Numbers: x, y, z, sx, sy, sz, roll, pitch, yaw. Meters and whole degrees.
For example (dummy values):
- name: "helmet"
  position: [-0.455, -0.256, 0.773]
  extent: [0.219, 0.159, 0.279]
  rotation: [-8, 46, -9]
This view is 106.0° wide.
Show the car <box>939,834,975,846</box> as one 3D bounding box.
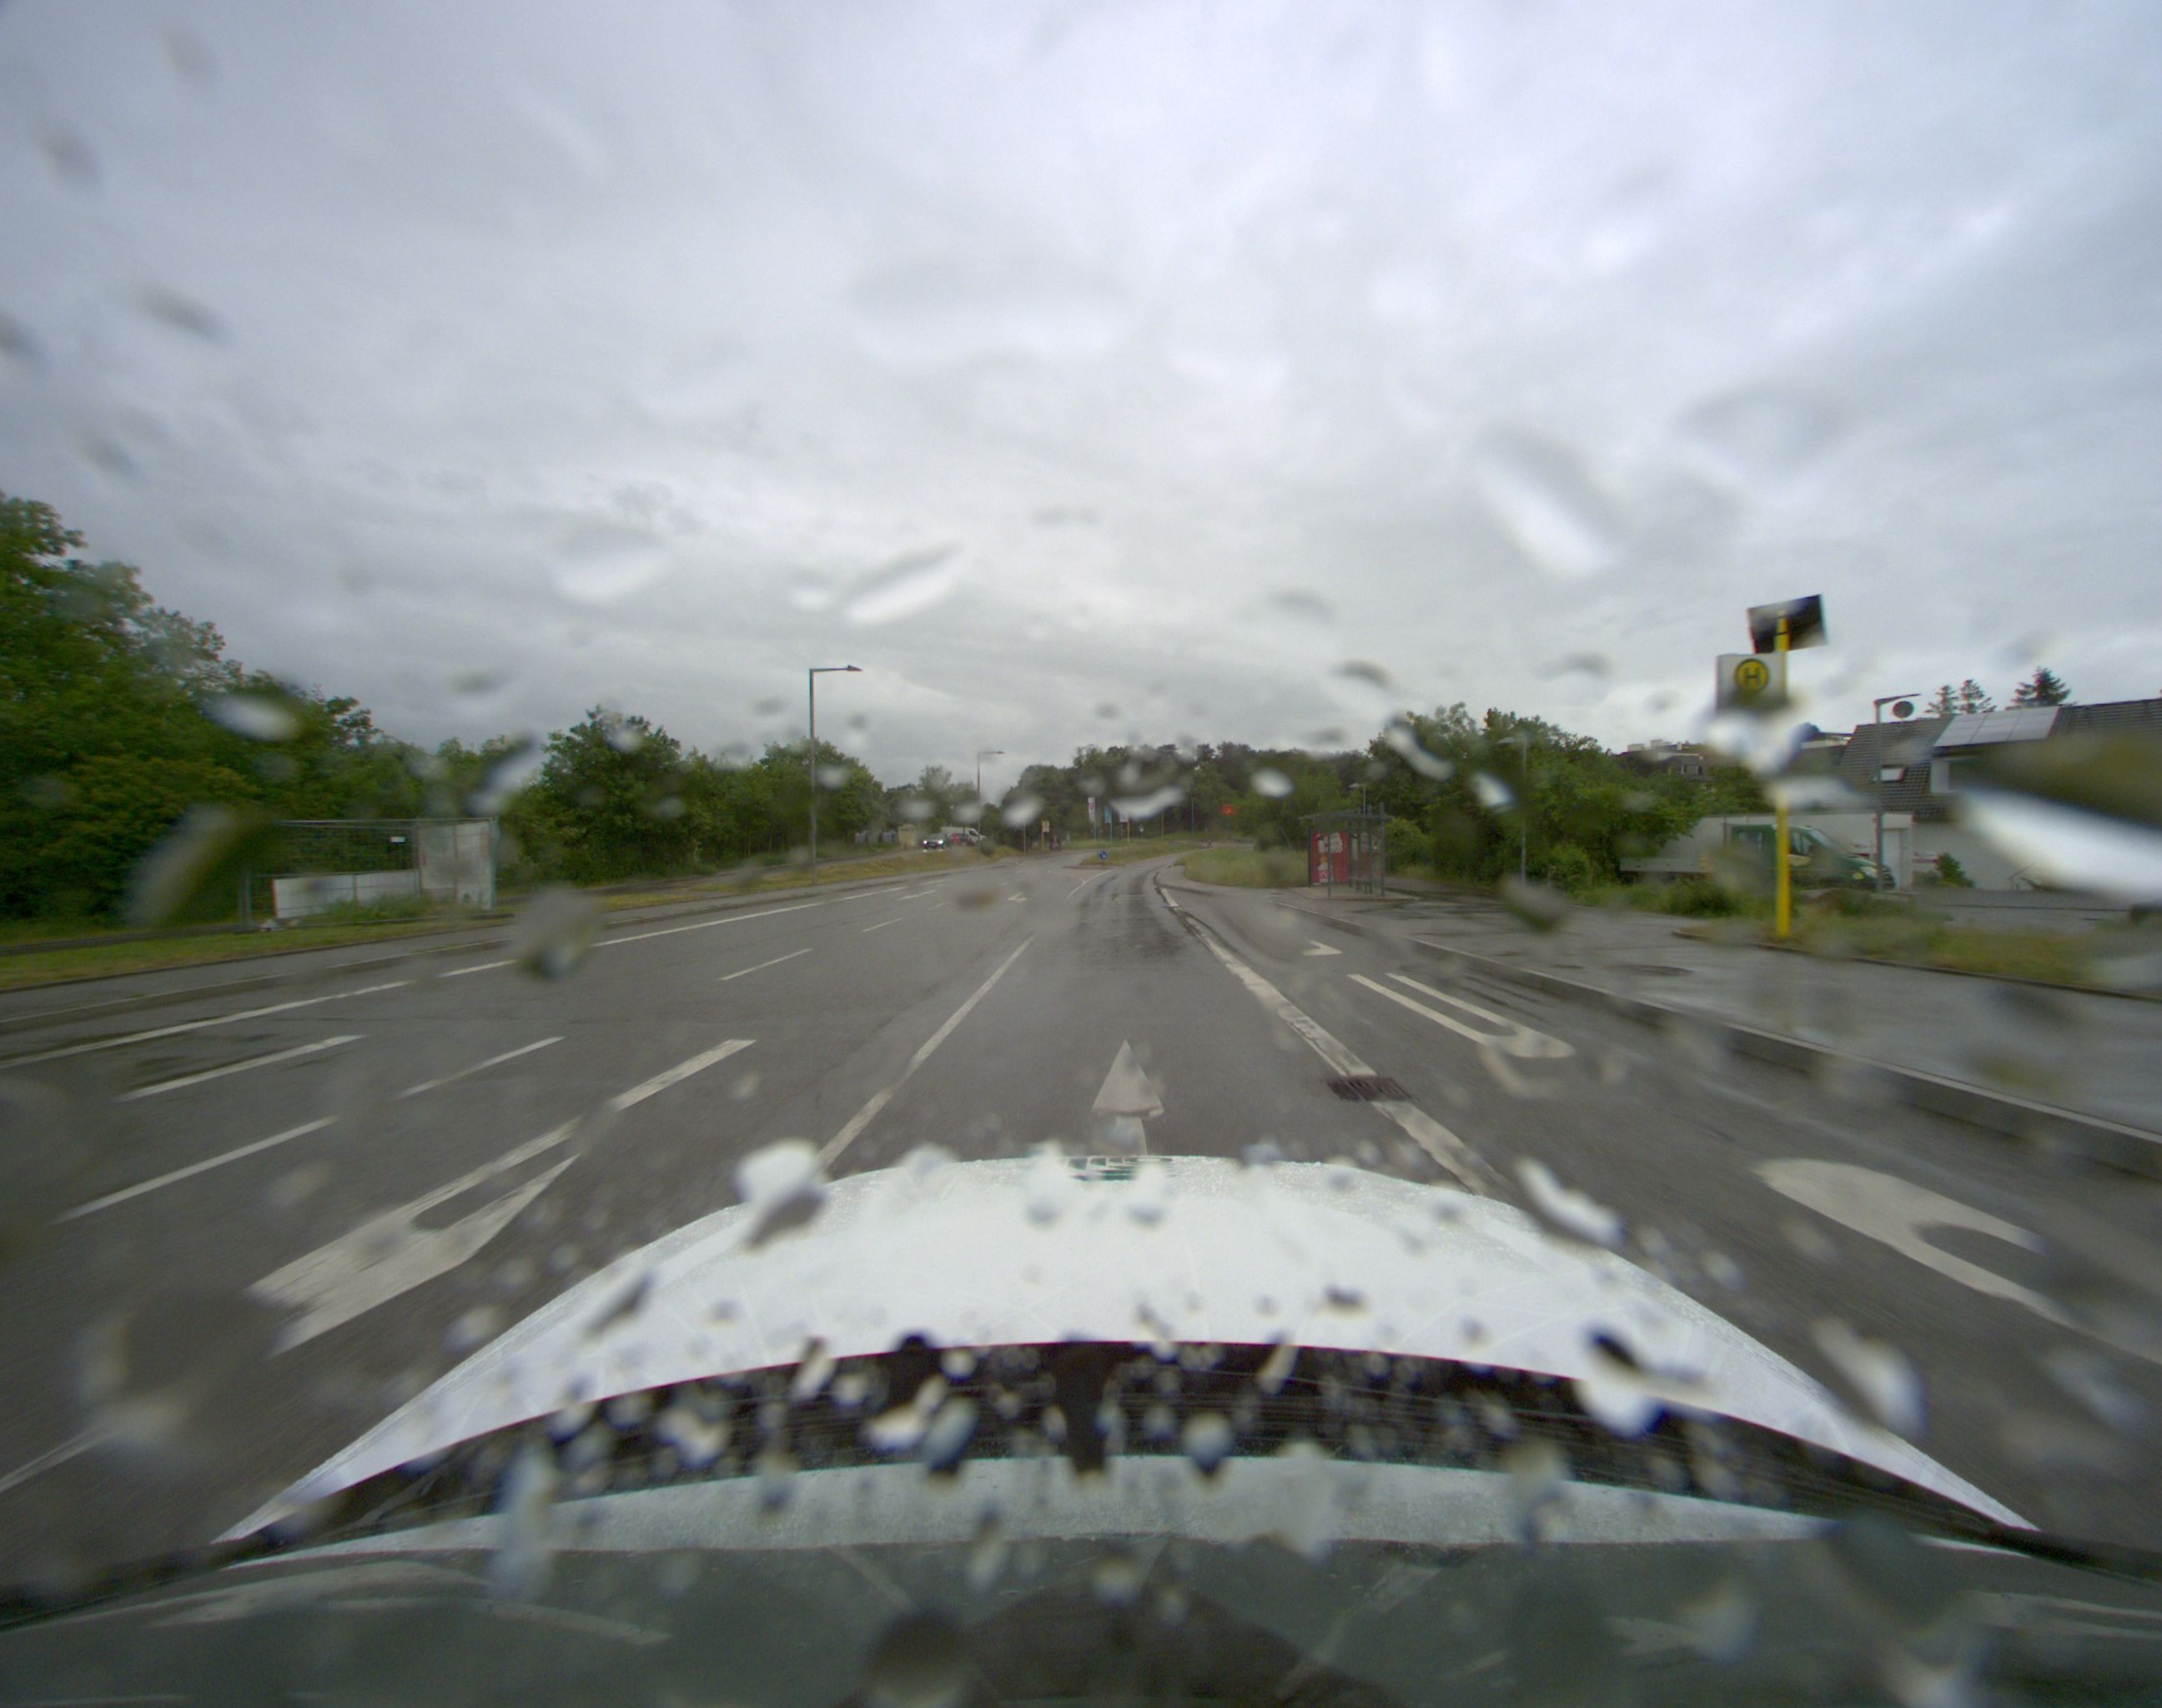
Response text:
- name: "car"
  position: [-15.127, -1.742, 99.342]
  extent: [3.963, 1.364, 1.853]
  rotation: [0, 1, 9]

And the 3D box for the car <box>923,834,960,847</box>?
- name: "car"
  position: [-16.507, -1.593, 96.397]
  extent: [3.965, 1.469, 1.852]
  rotation: [0, 1, 7]

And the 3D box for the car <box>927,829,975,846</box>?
- name: "car"
  position: [-13.892, -1.738, 87.239]
  extent: [4.681, 1.693, 2.009]
  rotation: [-2, 1, 7]

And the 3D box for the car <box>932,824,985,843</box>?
- name: "car"
  position: [-16.122, -2.705, 107.182]
  extent: [6.527, 2.397, 2.141]
  rotation: [1, 0, 3]

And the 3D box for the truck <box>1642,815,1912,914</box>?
- name: "truck"
  position: [19.905, 0.353, 23.620]
  extent: [2.009, 2.526, 5.573]
  rotation: [0, -2, -36]

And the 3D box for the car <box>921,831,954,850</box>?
- name: "car"
  position: [-13.210, -1.250, 75.210]
  extent: [1.682, 1.568, 4.551]
  rotation: [2, 3, 6]

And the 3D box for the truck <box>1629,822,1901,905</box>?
- name: "truck"
  position: [19.693, 0.258, 23.810]
  extent: [2.009, 2.109, 5.785]
  rotation: [0, 0, -36]
